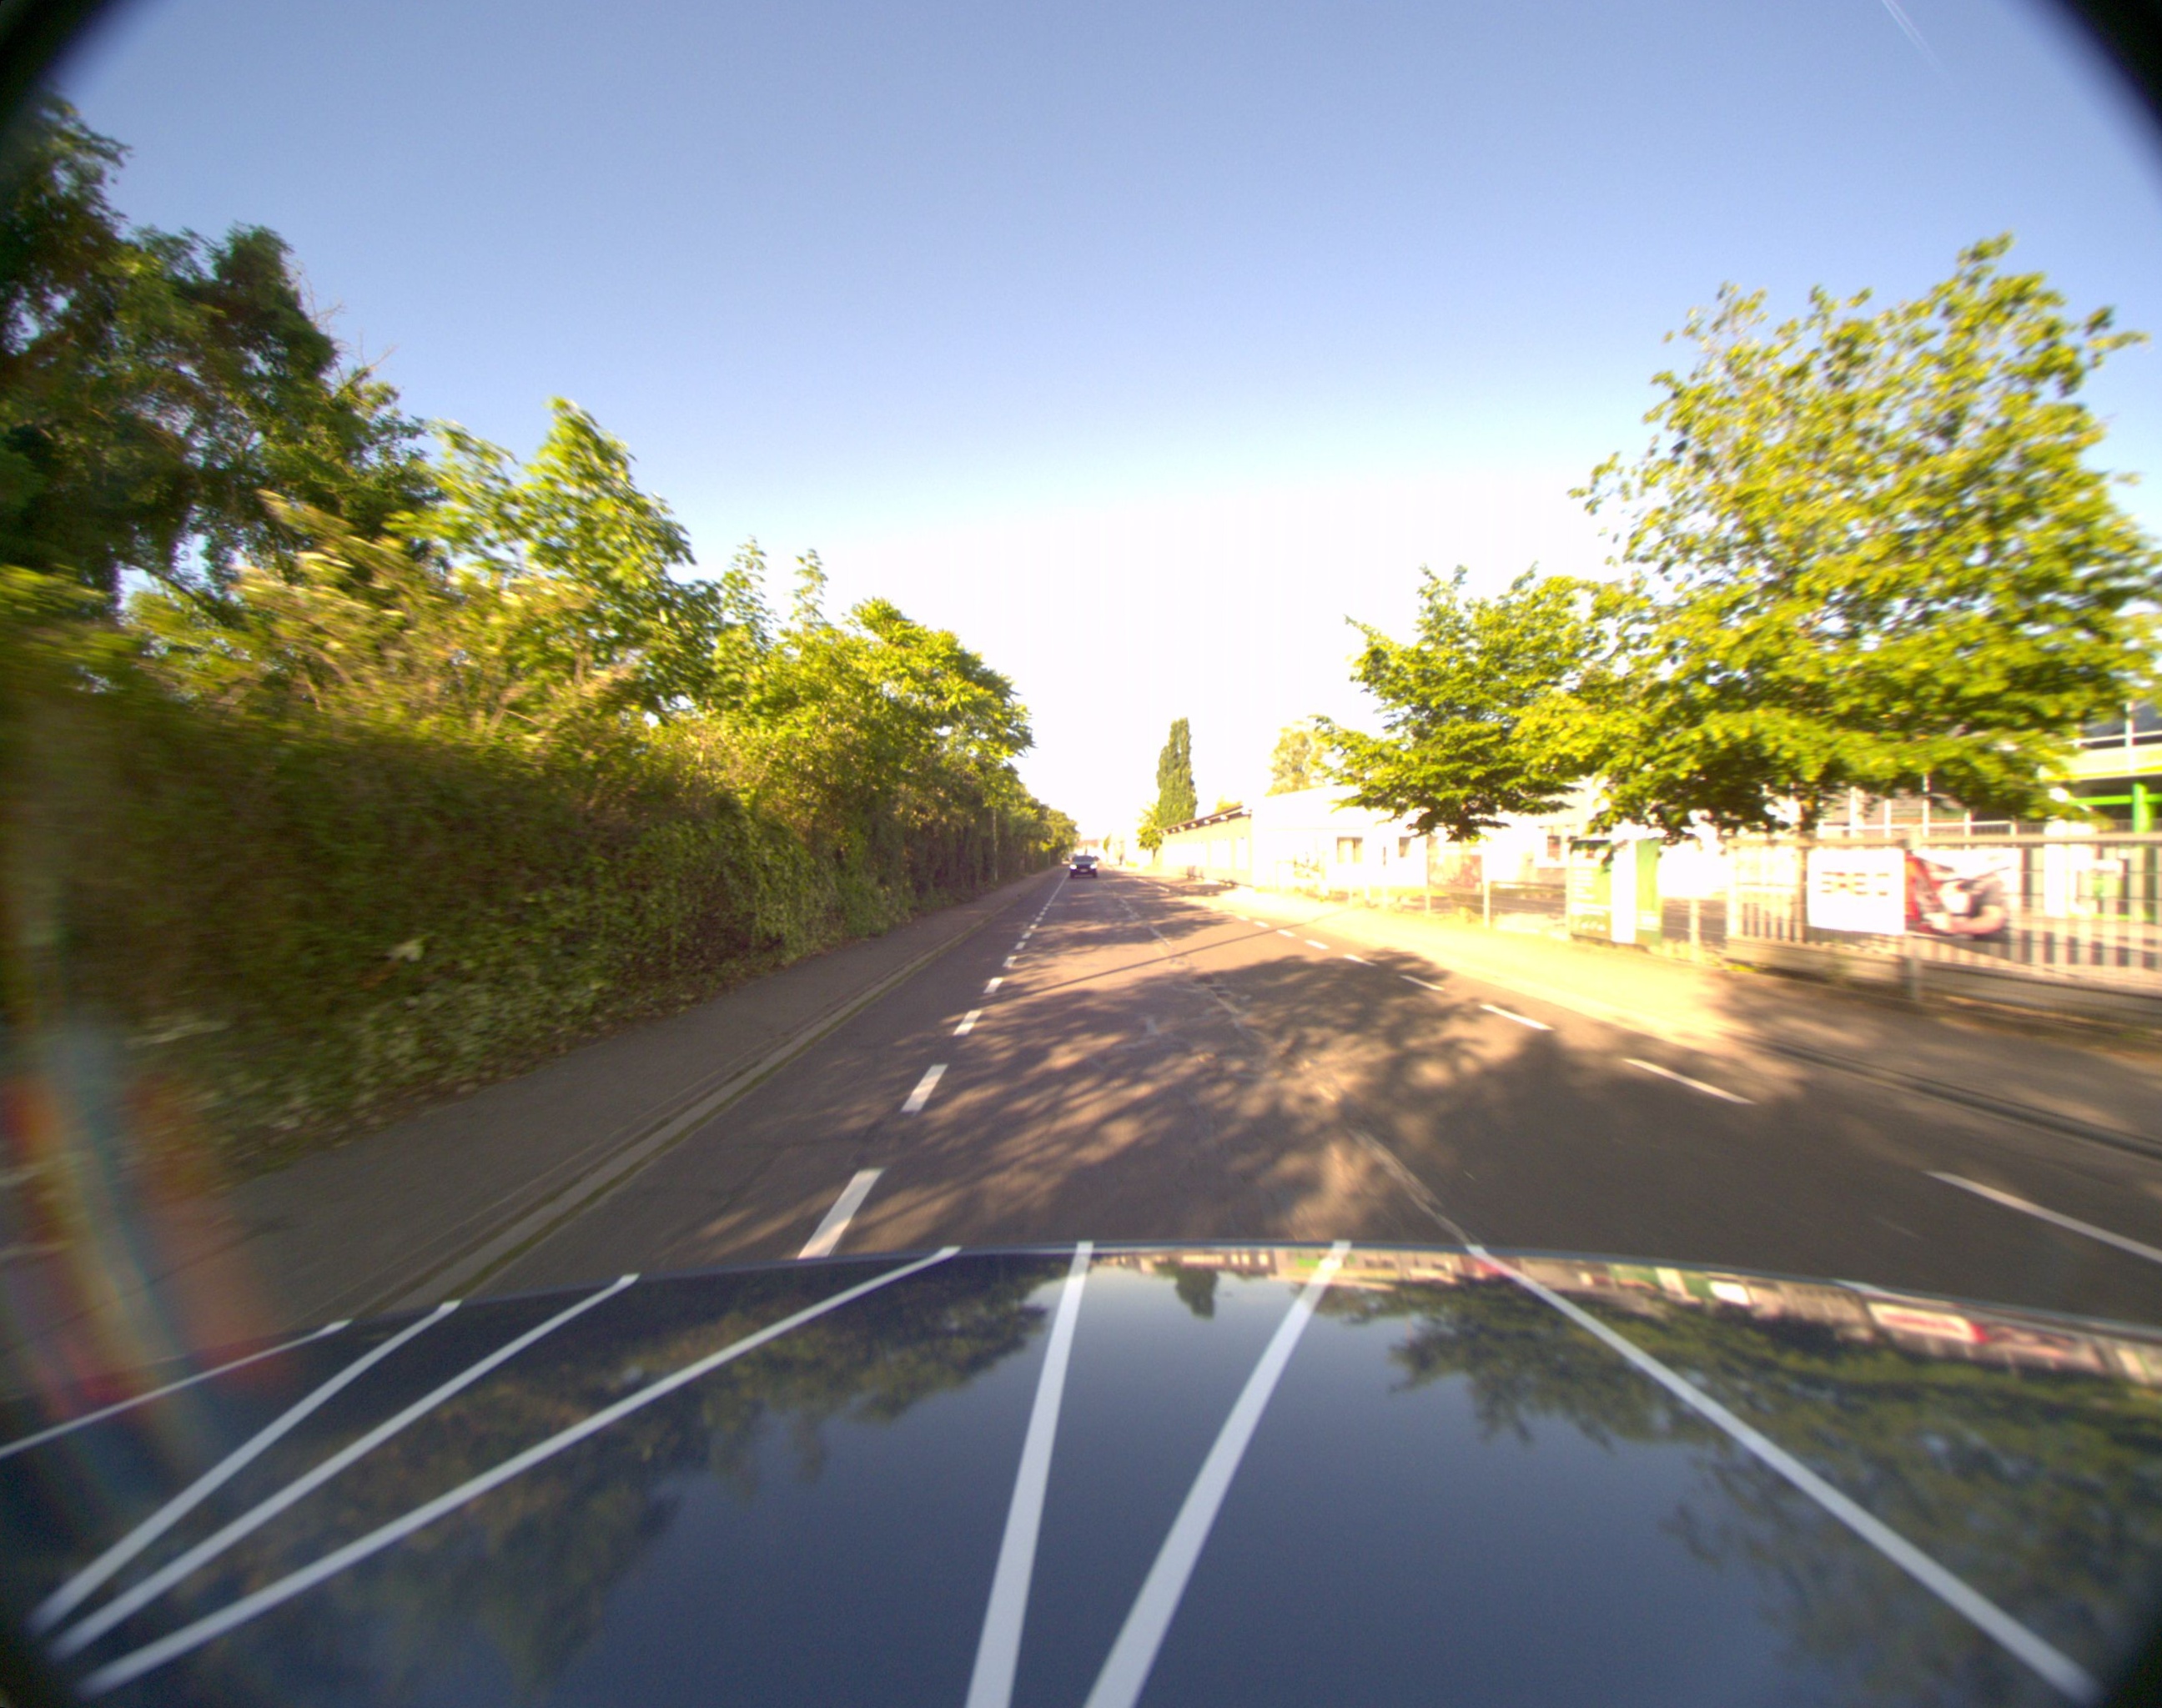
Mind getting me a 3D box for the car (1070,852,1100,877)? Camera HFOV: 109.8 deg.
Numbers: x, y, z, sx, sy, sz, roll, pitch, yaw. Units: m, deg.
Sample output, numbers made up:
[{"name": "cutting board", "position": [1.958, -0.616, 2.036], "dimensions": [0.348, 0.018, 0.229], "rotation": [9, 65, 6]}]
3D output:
[{"name": "car", "position": [0.269, 0.707, 56.113], "dimensions": [1.999, 1.609, 3.999], "rotation": [-4, 1, -1]}]
